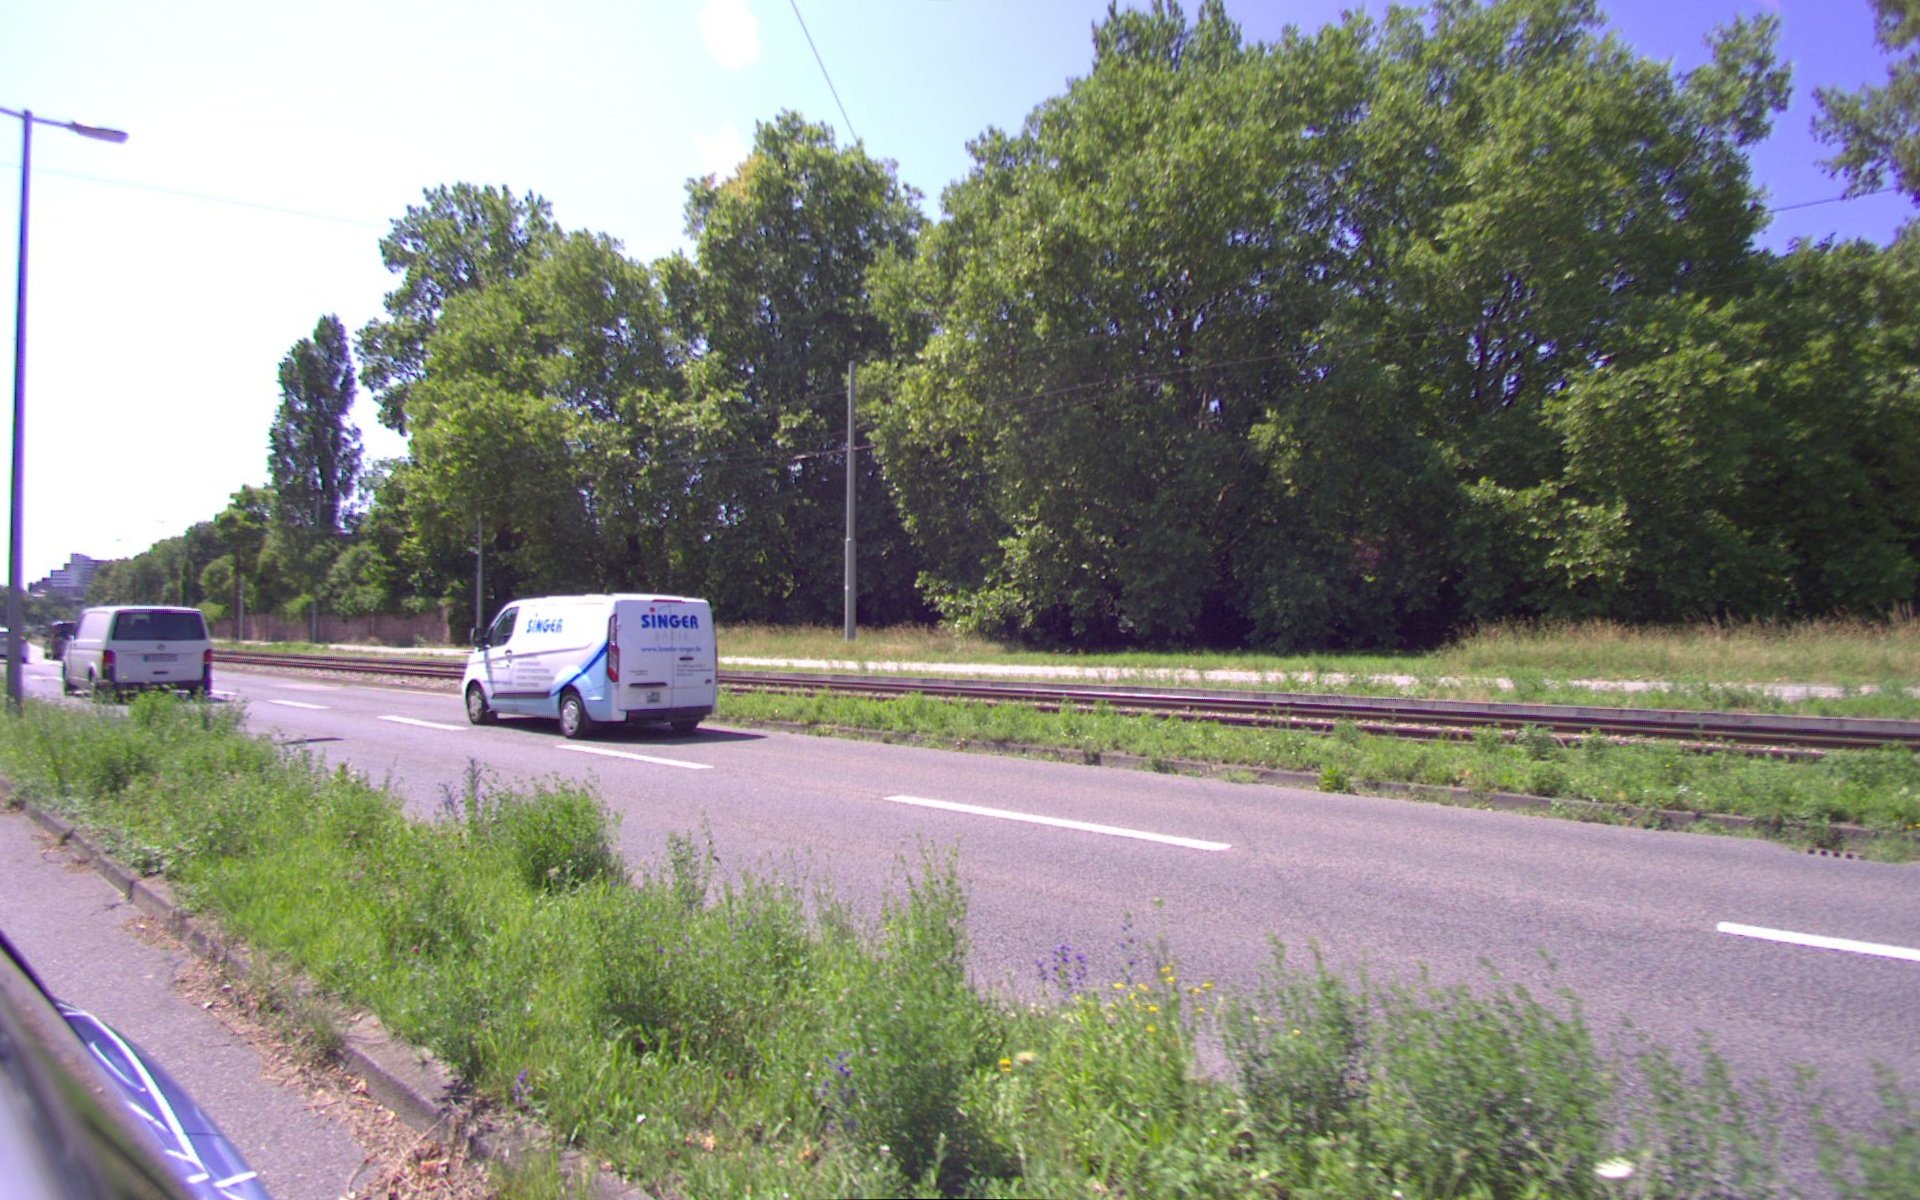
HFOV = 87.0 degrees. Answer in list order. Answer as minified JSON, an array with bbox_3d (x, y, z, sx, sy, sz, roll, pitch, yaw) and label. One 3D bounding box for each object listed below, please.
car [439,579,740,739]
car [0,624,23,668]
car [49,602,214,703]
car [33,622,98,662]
[{"bbox_3d":[-5.682,0.840,15.194,5.025,2.029,1.973,-2,-3,40],"label":"car"},{"bbox_3d":[-40.312,1.887,42.029,4.039,1.752,1.809,-2,-3,45],"label":"car"},{"bbox_3d":[-17.814,1.077,21.649,5.563,1.921,1.810,-1,-3,41],"label":"car"},{"bbox_3d":[-43.256,2.015,48.916,4.614,1.815,1.810,-2,-3,43],"label":"car"}]
